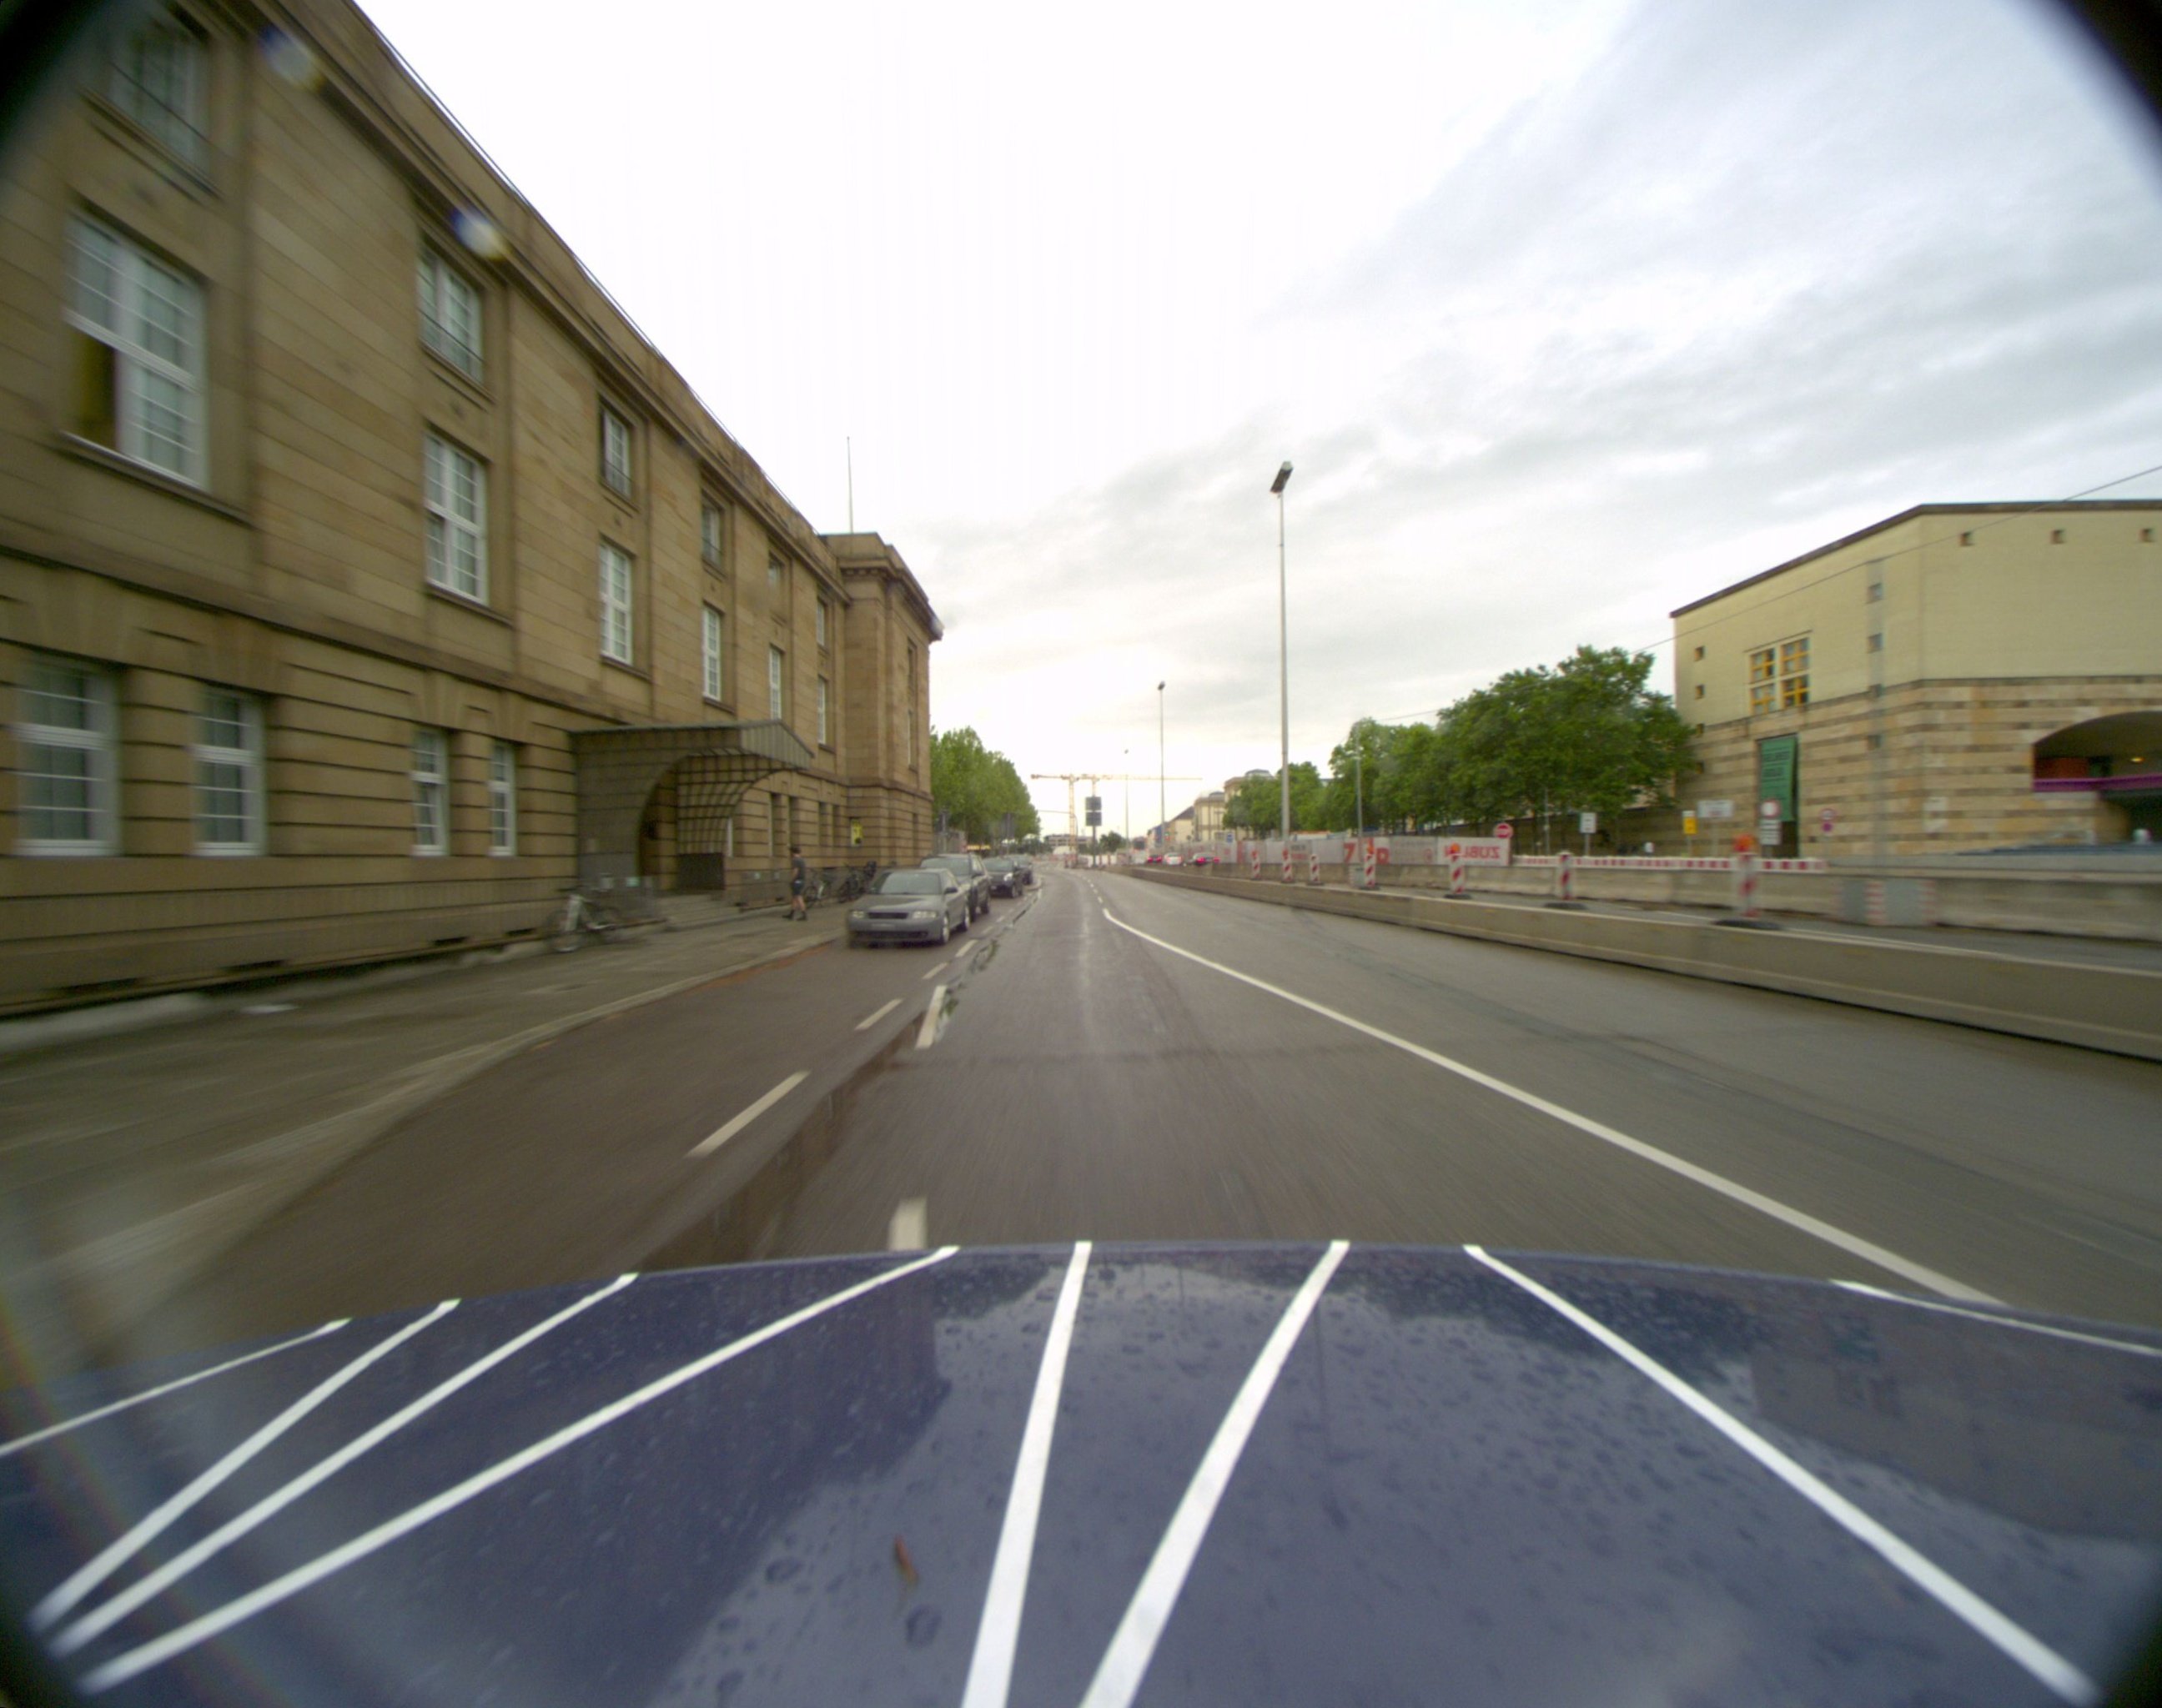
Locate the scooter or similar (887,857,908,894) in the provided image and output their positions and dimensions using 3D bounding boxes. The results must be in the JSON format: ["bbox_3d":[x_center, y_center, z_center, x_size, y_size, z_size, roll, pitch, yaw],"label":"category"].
[{"bbox_3d":[-7.364,0.843,30.522,0.414,1.409,1.268,2,2,5],"label":"scooter or similar"}]

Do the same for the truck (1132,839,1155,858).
[{"bbox_3d":[9.500,-0.842,115.676,2.404,2.703,7.351,-1,0,-4],"label":"truck"}]

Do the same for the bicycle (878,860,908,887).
[{"bbox_3d":[-7.716,0.792,31.241,0.419,1.044,1.773,-1,1,13],"label":"bicycle"}]

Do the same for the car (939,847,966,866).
[{"bbox_3d":[-10.947,0.231,64.874,1.585,1.528,3.021,0,1,3],"label":"car"}]

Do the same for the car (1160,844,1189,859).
[{"bbox_3d":[9.794,-0.227,79.835,2.000,1.521,3.997,-1,0,-7],"label":"car"}]

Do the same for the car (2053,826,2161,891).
[{"bbox_3d":[25.633,0.108,17.779,1.596,1.492,3.213,1,1,-2],"label":"car"}]

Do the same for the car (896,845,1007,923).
[{"bbox_3d":[-3.298,0.701,20.183,1.998,1.771,4.188,-1,1,3],"label":"car"}]

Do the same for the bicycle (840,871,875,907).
[{"bbox_3d":[-7.244,1.127,24.692,0.714,1.045,1.739,-2,1,-4],"label":"bicycle"}]

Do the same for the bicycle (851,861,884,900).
[{"bbox_3d":[-7.448,0.904,26.579,0.732,1.261,1.758,-1,1,-5],"label":"bicycle"}]

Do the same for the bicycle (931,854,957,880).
[{"bbox_3d":[-7.325,0.675,40.668,1.105,1.310,1.858,-2,1,-3],"label":"bicycle"}]

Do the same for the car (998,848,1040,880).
[{"bbox_3d":[-3.266,0.492,40.593,1.876,1.609,4.404,0,0,0],"label":"car"}]

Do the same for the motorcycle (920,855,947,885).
[{"bbox_3d":[-6.914,0.747,35.769,0.668,1.318,2.135,-1,1,4],"label":"motorcycle"}]

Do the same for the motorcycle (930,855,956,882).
[{"bbox_3d":[-6.892,0.716,37.931,0.808,1.291,1.799,-1,1,4],"label":"motorcycle"}]

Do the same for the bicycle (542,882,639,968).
[{"bbox_3d":[-7.914,1.105,12.339,0.465,1.208,1.691,-2,1,-1],"label":"bicycle"}]

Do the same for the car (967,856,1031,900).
[{"bbox_3d":[-3.109,0.876,29.280,1.762,1.406,3.153,4,2,6],"label":"car"}]

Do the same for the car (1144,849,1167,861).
[{"bbox_3d":[9.463,0.145,97.331,1.926,1.521,4.757,-1,0,-7],"label":"car"}]

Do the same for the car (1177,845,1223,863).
[{"bbox_3d":[9.072,0.027,58.374,1.780,1.255,4.761,-3,0,-14],"label":"car"}]

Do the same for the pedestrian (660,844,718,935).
[{"bbox_3d":[-7.847,0.696,15.230,0.797,1.767,0.642,2,1,0],"label":"pedestrian"}]

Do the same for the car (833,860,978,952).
[{"bbox_3d":[-3.335,0.921,15.187,1.936,1.470,3.702,-2,1,1],"label":"car"}]

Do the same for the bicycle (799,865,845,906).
[{"bbox_3d":[-7.392,0.877,21.758,0.585,1.032,1.759,-1,1,4],"label":"bicycle"}]
